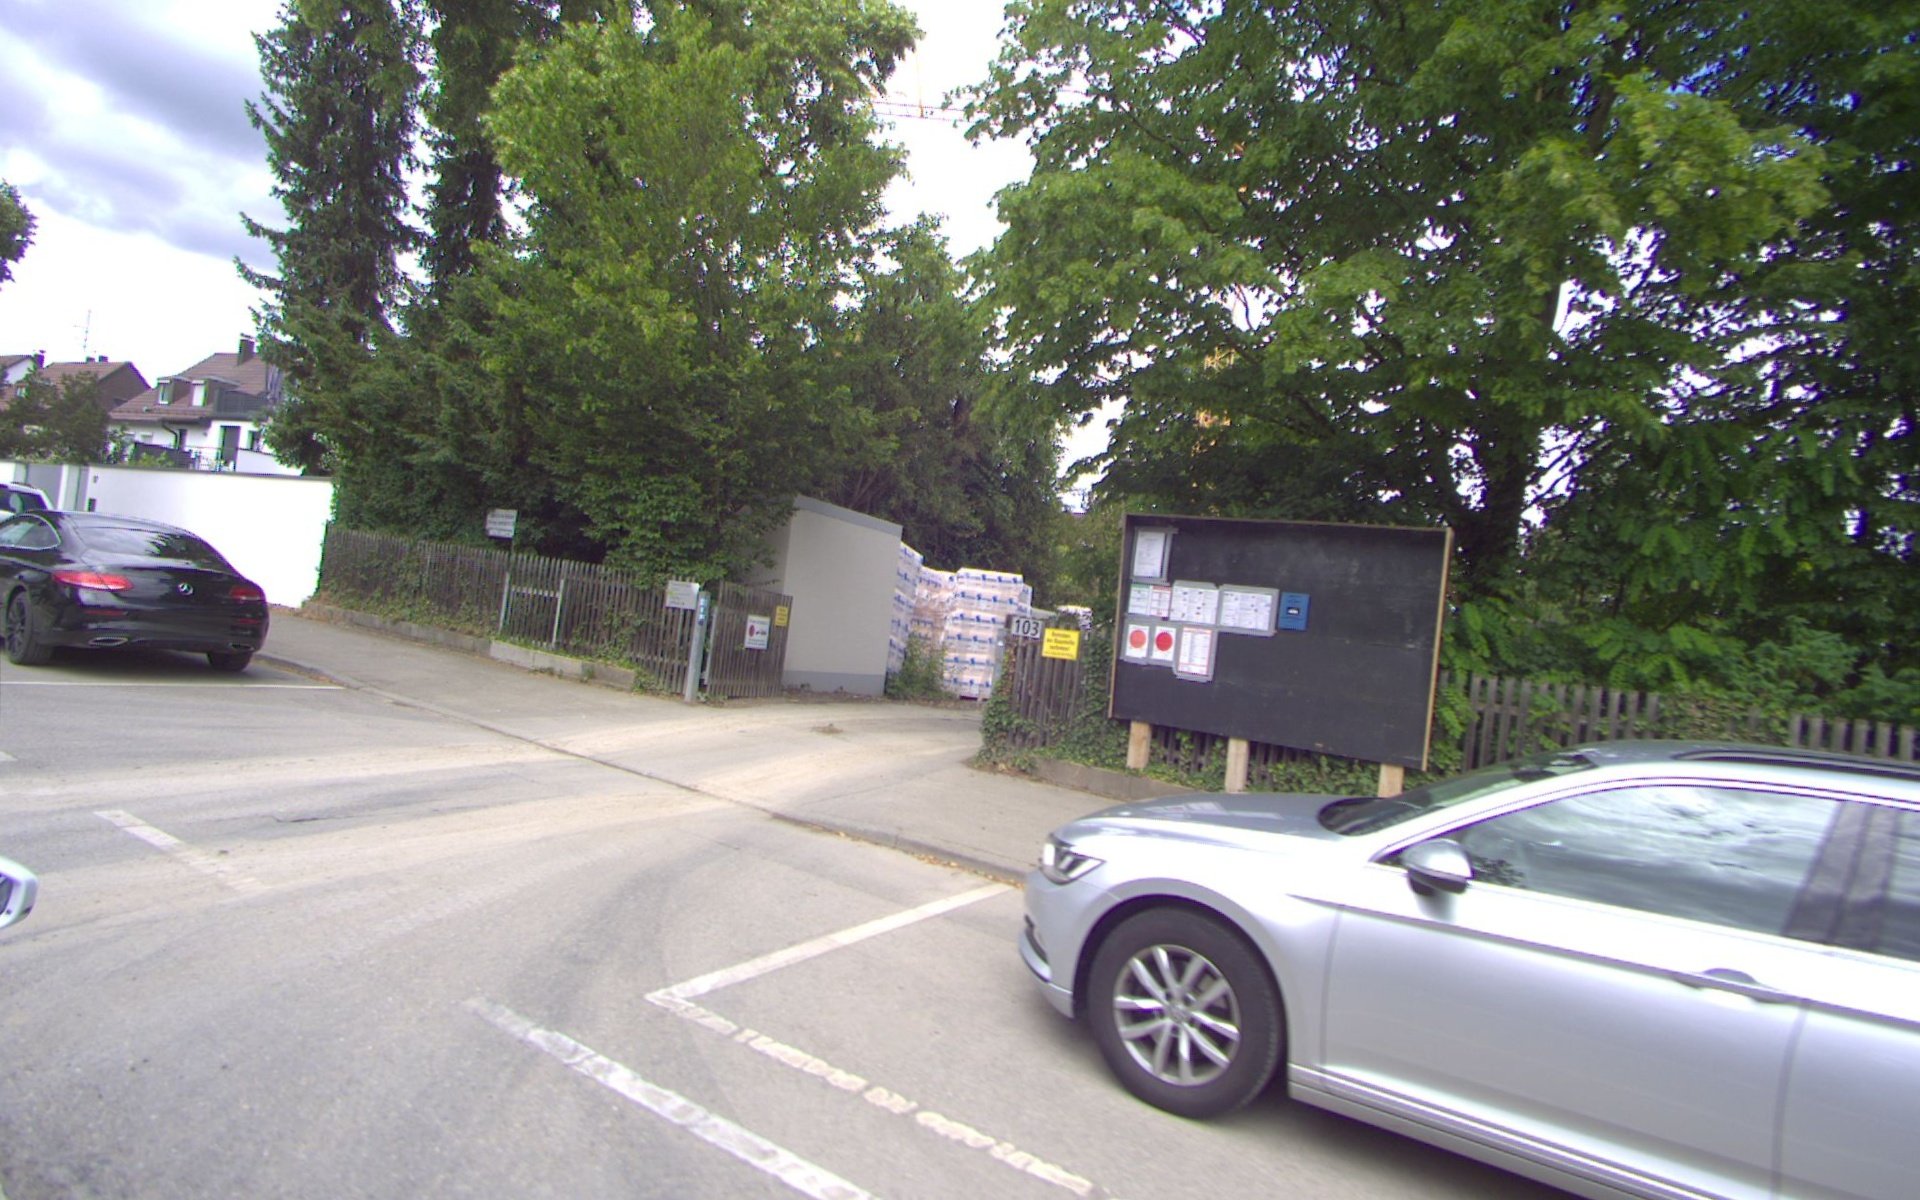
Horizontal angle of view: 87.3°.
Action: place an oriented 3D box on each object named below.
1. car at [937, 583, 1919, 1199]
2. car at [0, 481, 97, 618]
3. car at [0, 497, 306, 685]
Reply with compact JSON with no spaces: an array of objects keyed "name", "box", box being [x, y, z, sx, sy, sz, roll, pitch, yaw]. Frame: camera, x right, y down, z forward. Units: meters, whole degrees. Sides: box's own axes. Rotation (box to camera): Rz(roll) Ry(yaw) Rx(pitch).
[{"name":"car","box":[2.439,1.054,3.278,4.609,1.629,1.866,6,-2,31]},{"name":"car","box":[-13.786,-0.848,13.600,4.047,1.662,1.904,6,-1,30]},{"name":"car","box":[-8.863,-0.194,10.297,4.527,1.434,1.866,7,-1,33]}]
